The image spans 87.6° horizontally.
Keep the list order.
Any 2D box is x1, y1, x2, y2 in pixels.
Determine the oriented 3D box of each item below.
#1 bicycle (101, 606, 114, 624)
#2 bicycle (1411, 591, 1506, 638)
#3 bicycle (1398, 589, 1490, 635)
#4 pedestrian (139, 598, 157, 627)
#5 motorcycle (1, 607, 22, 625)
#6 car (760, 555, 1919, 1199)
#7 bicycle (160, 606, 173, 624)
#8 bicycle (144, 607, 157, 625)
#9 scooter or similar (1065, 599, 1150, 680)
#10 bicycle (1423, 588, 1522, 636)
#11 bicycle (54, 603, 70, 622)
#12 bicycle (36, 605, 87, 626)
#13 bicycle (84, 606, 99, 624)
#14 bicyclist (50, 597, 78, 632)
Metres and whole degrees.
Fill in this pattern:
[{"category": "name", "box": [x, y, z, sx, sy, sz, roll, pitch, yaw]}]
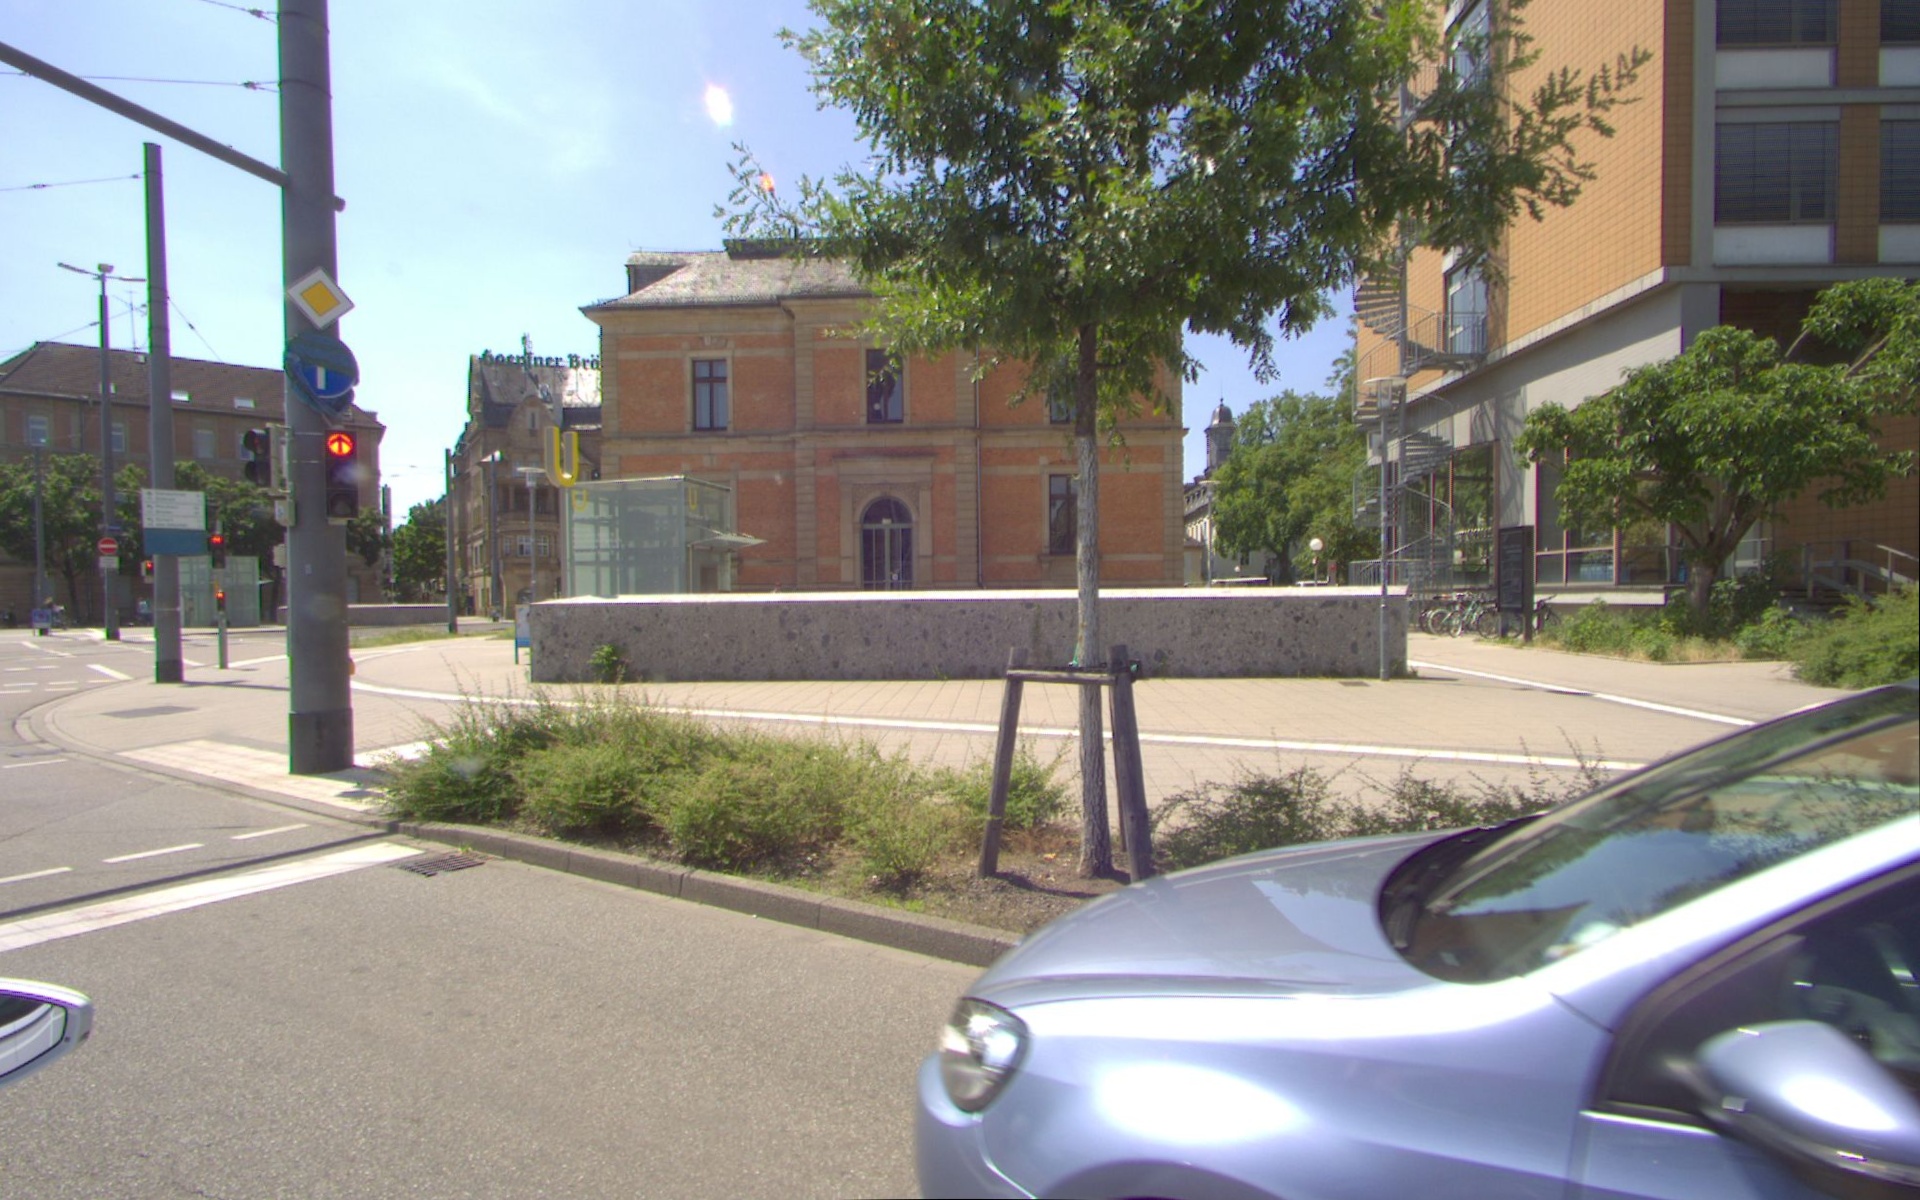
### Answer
[{"category": "bicycle", "box": [-53.914, 0.927, 63.328, 0.547, 1.135, 1.804, -1, 1, -41]}, {"category": "bicycle", "box": [13.261, 0.387, 26.700, 2.175, 1.234, 0.637, 0, -1, 5]}, {"category": "bicycle", "box": [13.271, 0.336, 27.510, 2.175, 1.234, 0.637, 0, -1, 5]}, {"category": "pedestrian", "box": [-48.707, 0.725, 60.075, 0.627, 1.731, 0.462, 0, 1, 2]}, {"category": "motorcycle", "box": [-56.602, 0.959, 59.761, 1.920, 1.089, 0.578, 0, 1, 36]}, {"category": "car", "box": [1.751, 0.712, 1.457, 3.945, 1.478, 1.649, 0, -1, 31]}, {"category": "bicycle", "box": [-52.106, 0.977, 65.724, 0.547, 1.135, 1.912, -1, 1, -41]}, {"category": "bicycle", "box": [-52.704, 1.040, 65.183, 0.547, 1.135, 1.854, -1, 1, -41]}, {"category": "scooter or similar", "box": [2.209, 0.579, 14.982, 1.227, 1.186, 0.458, 0, 1, 13]}, {"category": "bicycle", "box": [13.240, 0.317, 25.914, 2.175, 1.234, 0.637, 0, -1, 5]}, {"category": "bicycle", "box": [-55.724, 0.802, 62.144, 2.069, 1.160, 0.440, -2, -2, 39]}, {"category": "bicycle", "box": [-47.751, 0.824, 53.245, 0.679, 1.066, 2.113, 0, -2, 7]}, {"category": "bicycle", "box": [-54.294, 0.930, 62.599, 0.546, 1.135, 1.806, -1, 1, -37]}, {"category": "bicyclist", "box": [-47.733, 0.778, 53.354, 0.469, 1.831, 1.064, 0, -1, 8]}]
